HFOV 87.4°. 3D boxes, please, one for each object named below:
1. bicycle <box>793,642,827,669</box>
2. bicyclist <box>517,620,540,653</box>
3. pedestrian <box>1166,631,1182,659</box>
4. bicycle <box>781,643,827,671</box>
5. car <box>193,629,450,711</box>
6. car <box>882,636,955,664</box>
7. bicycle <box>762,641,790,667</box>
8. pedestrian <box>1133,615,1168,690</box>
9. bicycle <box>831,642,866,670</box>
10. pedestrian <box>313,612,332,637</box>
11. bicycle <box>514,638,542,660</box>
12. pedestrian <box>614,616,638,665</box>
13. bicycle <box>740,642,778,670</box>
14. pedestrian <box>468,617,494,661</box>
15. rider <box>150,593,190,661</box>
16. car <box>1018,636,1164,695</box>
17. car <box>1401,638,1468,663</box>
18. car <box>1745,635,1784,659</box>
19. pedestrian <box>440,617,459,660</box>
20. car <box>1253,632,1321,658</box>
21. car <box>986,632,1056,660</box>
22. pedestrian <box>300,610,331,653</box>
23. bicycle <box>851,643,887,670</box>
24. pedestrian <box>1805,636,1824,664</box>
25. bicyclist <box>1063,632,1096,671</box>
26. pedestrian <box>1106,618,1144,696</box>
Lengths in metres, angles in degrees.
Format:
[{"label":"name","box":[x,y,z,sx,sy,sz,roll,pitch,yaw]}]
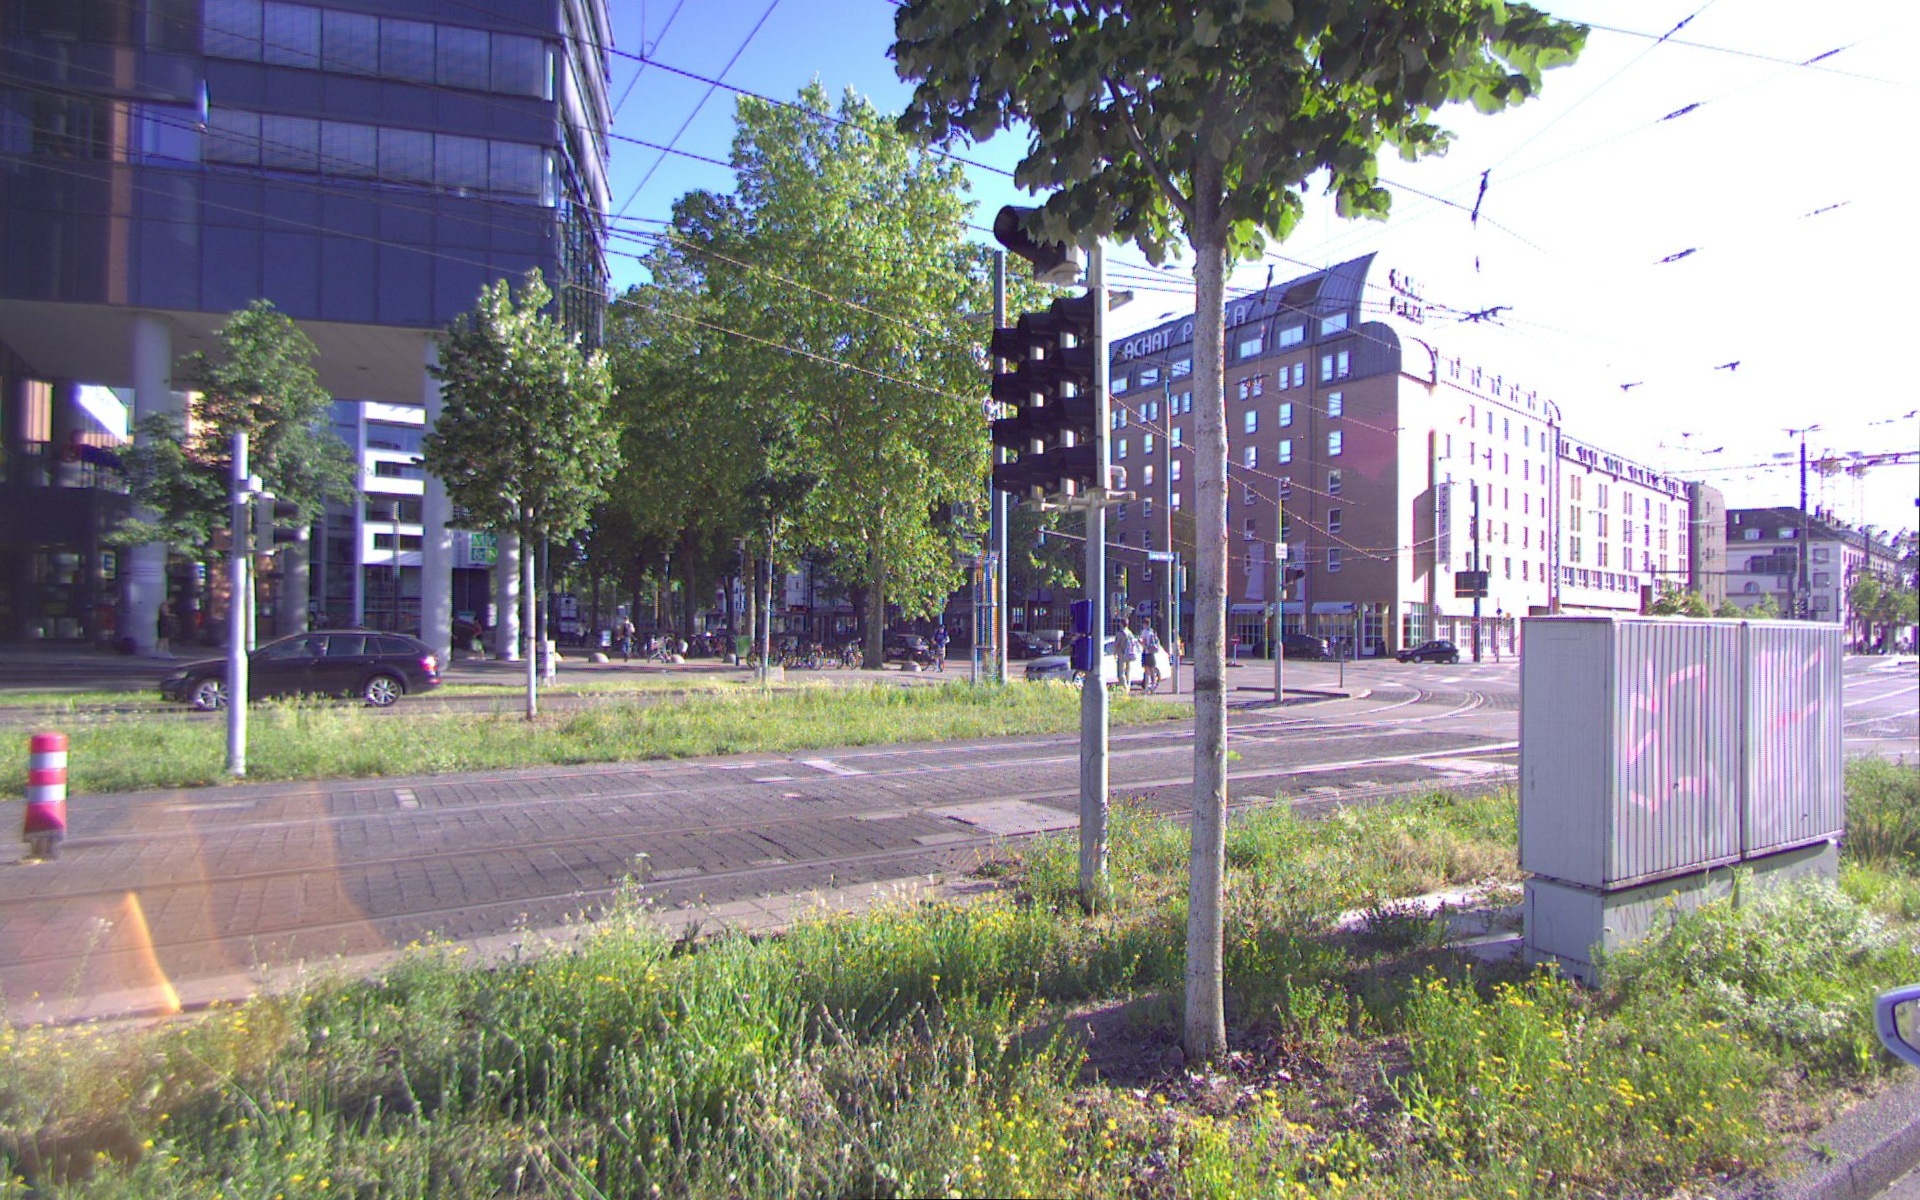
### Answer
[{"label":"bicycle","box":[-5.765,2.101,38.475,0.536,0.964,1.753,2,-2,-36]},{"label":"bicyclist","box":[-19.791,1.664,46.085,0.667,1.484,1.016,1,-1,-4]},{"label":"pedestrian","box":[12.086,2.533,56.732,0.652,1.523,0.672,1,-1,-33]},{"label":"bicycle","box":[-5.732,2.092,36.899,1.742,0.964,0.540,0,-1,34]},{"label":"car","box":[-12.450,1.340,19.783,4.104,1.440,1.711,2,-4,-36]},{"label":"car","box":[-2.065,2.418,49.202,1.977,1.283,3.968,1,-2,-30]},{"label":"bicycle","box":[-7.014,2.048,38.405,0.530,0.964,1.772,1,-1,7]},{"label":"pedestrian","box":[4.763,1.298,25.150,0.656,1.841,0.559,1,-1,-36]},{"label":"bicycle","box":[-4.199,2.096,37.764,0.536,0.964,1.753,2,-2,-36]},{"label":"pedestrian","box":[-34.085,1.292,53.749,0.651,1.294,0.636,1,0,-13]},{"label":"bicycle","box":[-19.788,2.239,46.078,0.490,0.922,1.888,1,-1,-1]},{"label":"pedestrian","box":[-14.168,1.711,42.594,0.826,2.040,0.730,1,0,-25]},{"label":"bicycle","box":[-7.413,2.041,36.999,0.538,0.964,1.748,2,-2,-44]},{"label":"pedestrian","box":[-17.912,1.444,37.556,0.826,1.619,0.730,1,0,-25]},{"label":"rider","box":[-21.698,0.745,27.596,0.704,1.826,0.715,1,-1,-29]},{"label":"car","box":[3.604,1.743,27.344,3.960,1.468,1.563,2,-2,-35]},{"label":"car","box":[29.028,3.079,61.446,3.952,1.407,1.747,1,-2,-29]},{"label":"car","box":[53.369,3.094,66.623,1.726,1.524,3.858,-1,-2,43]},{"label":"pedestrian","box":[-18.315,1.379,36.032,0.566,1.500,0.450,1,0,-30]},{"label":"car","box":[20.770,2.846,63.991,1.740,1.570,3.965,1,-2,-32]},{"label":"car","box":[3.333,2.510,55.157,1.743,1.439,3.960,2,-2,-35]},{"label":"pedestrian","box":[-26.257,1.287,40.918,0.794,1.730,0.789,1,0,-13]},{"label":"bicycle","box":[-3.467,2.117,38.015,0.536,0.964,1.753,2,-2,-36]},{"label":"pedestrian","box":[49.923,2.916,58.684,0.762,1.662,0.735,2,-2,-43]},{"label":"bicyclist","box":[4.405,1.883,37.107,0.942,1.393,0.752,2,-1,-37]},{"label":"pedestrian","box":[4.024,1.371,24.458,0.656,1.854,0.627,1,-1,-36]}]
